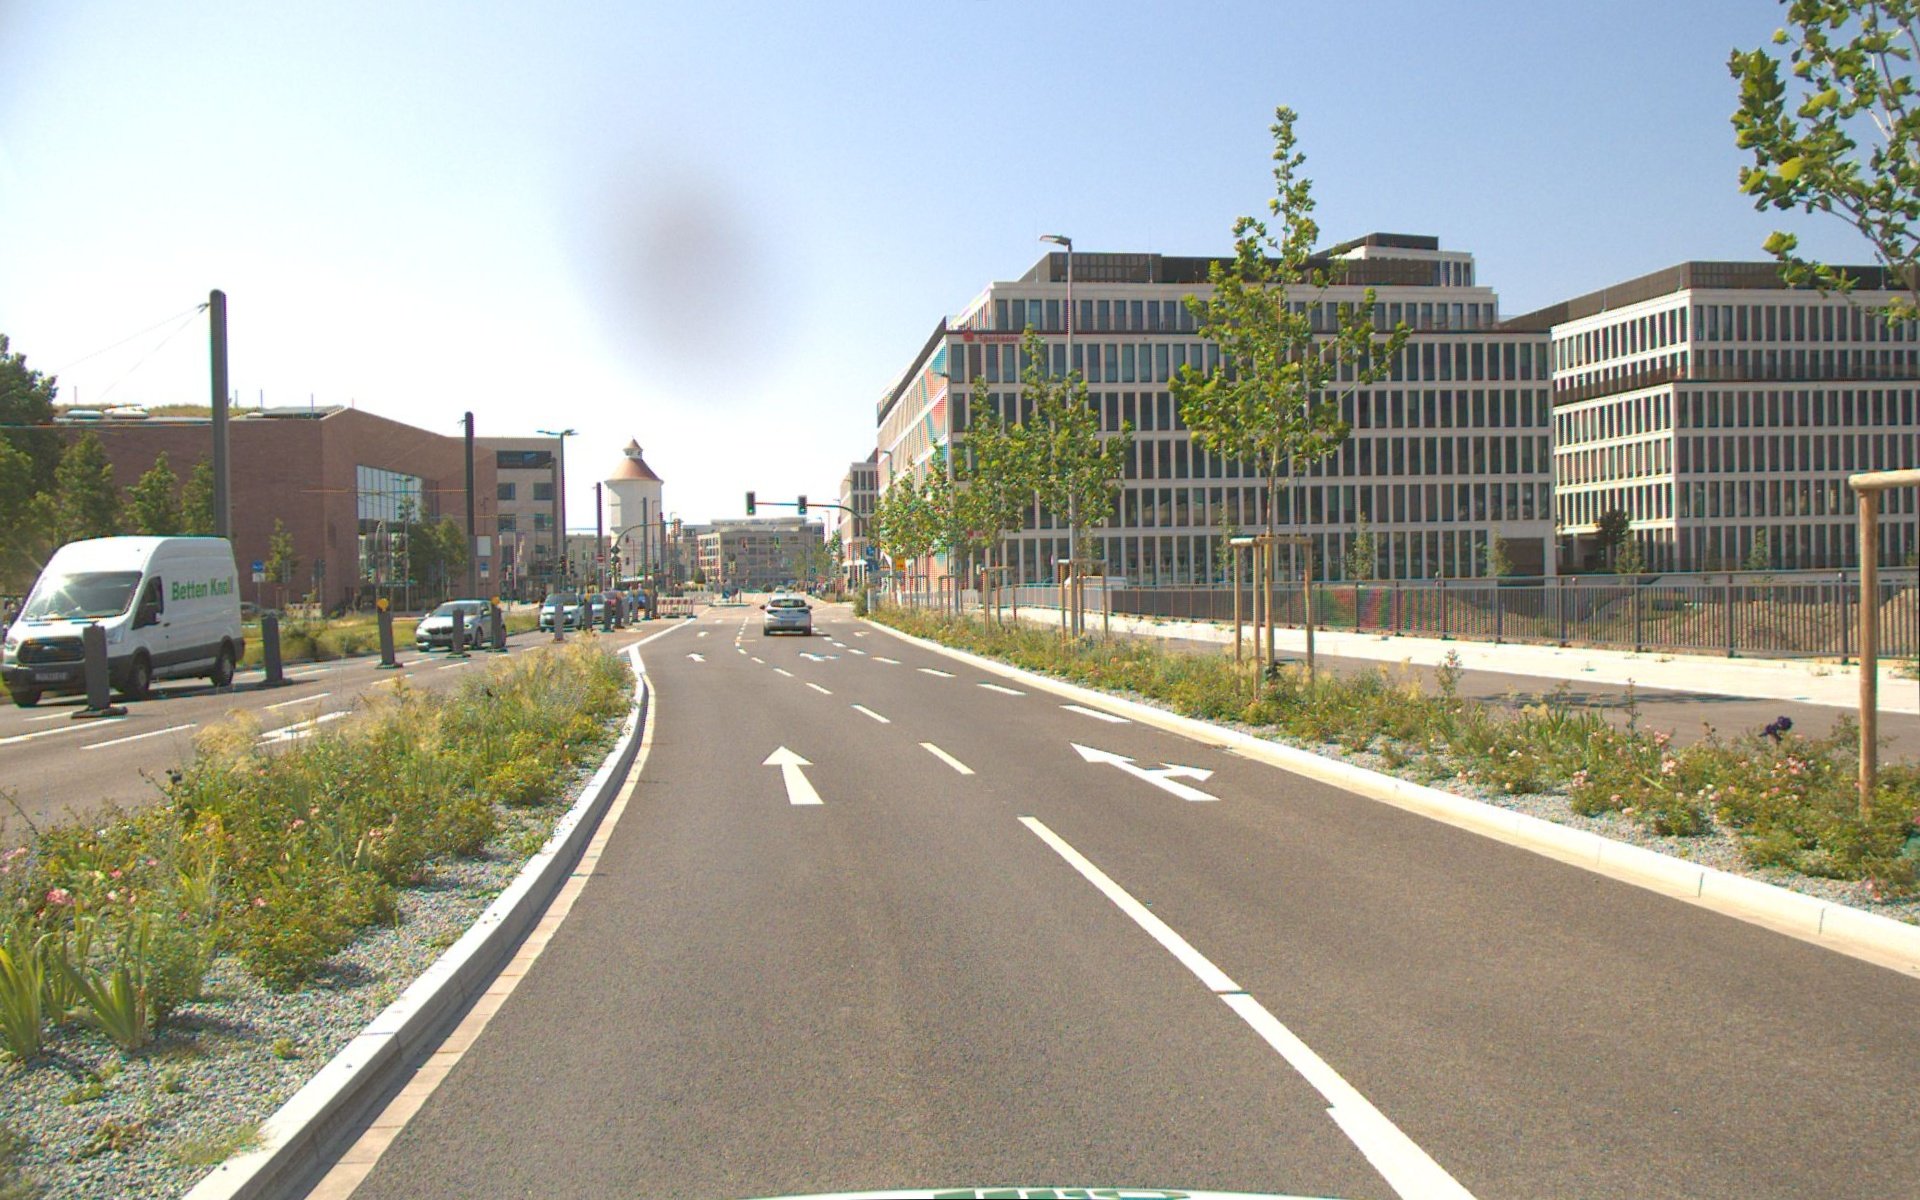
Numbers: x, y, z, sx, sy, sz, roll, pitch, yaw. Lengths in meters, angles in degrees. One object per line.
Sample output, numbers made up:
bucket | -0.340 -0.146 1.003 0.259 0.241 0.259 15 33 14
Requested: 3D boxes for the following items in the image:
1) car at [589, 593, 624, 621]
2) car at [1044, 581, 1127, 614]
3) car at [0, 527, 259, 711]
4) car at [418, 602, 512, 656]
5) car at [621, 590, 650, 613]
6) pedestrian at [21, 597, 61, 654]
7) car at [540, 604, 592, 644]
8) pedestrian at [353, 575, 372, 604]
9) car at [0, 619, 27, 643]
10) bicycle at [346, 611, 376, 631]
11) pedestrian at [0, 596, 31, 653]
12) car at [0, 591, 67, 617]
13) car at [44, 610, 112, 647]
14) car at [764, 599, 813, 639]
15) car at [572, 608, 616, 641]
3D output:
car | -19.605 0.383 91.871 1.550 1.441 3.993 -2 0 -7
car | 9.079 -0.188 119.870 5.725 2.310 2.143 1 0 -7
car | -14.464 0.290 28.952 2.036 2.787 5.982 -3 0 -4
car | -14.959 0.840 50.208 1.640 1.468 4.466 -3 0 -3
car | -21.623 0.093 110.255 1.598 1.452 4.282 -2 1 -8
pedestrian | -33.143 0.917 59.680 0.964 2.049 0.909 0 0 -4
car | -16.368 0.973 68.830 1.549 1.557 3.616 -3 0 -5
pedestrian | -38.044 -0.671 105.316 0.795 1.879 1.107 -1 0 -1
car | -60.232 1.920 102.250 3.906 1.427 1.999 -1 -1 -2
bicycle | -44.350 1.558 122.500 2.019 1.478 0.537 -1 1 -18
pedestrian | -34.181 0.885 59.655 0.822 2.049 0.983 0 0 -4
car | -61.422 0.262 109.699 3.475 1.719 1.691 0 1 -7
car | -44.643 1.436 83.790 1.665 1.792 3.934 0 -1 -6
car | -6.369 0.716 61.702 1.737 1.419 3.528 0 -1 -5
car | -17.672 1.163 79.971 1.550 1.441 4.290 -2 0 -6
